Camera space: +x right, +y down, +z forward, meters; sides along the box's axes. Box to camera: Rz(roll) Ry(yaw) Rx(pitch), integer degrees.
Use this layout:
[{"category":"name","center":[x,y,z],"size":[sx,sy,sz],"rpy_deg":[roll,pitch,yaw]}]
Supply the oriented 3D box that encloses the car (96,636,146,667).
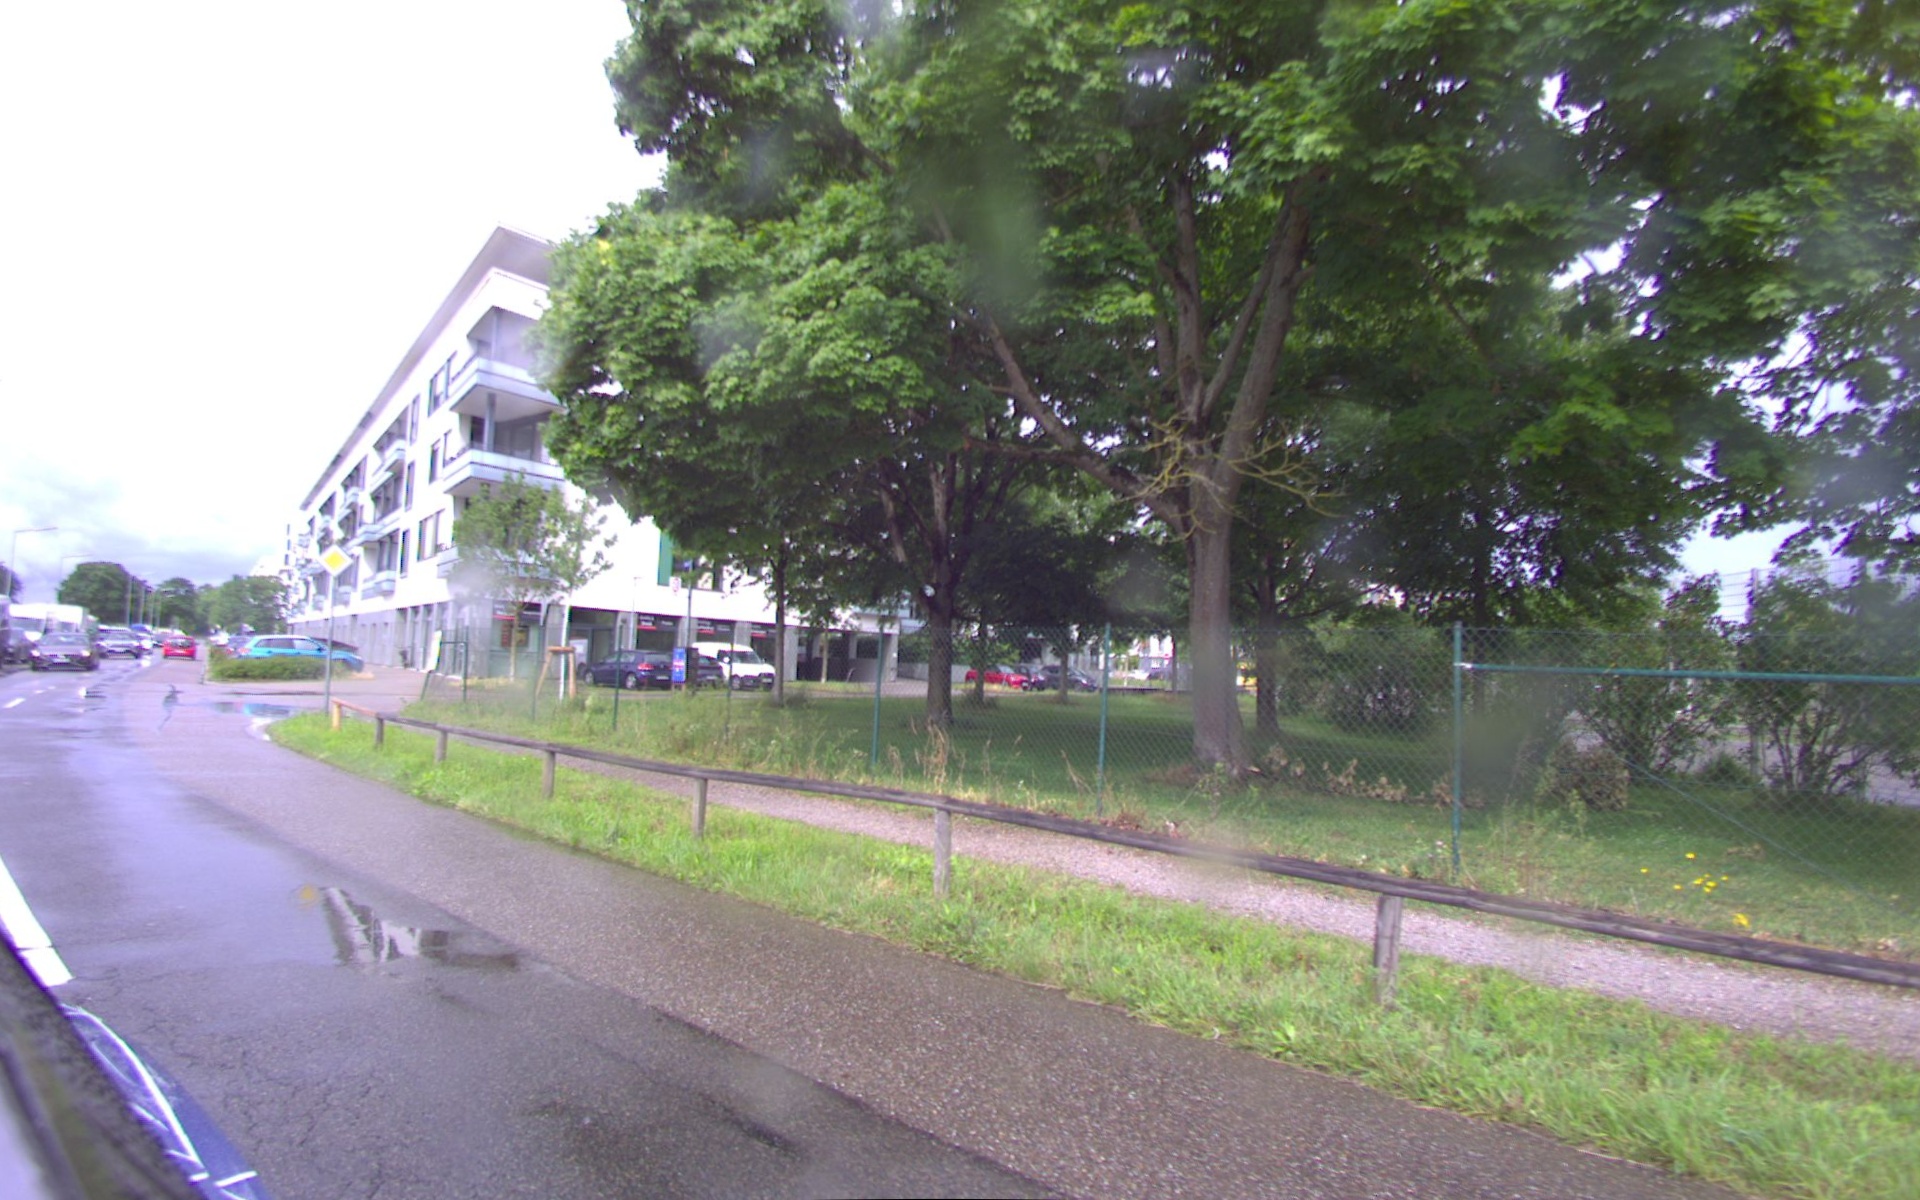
[{"category":"car","center":[-50.038,3.049,60.420],"size":[1.979,1.718,4.338],"rpy_deg":[6,-5,-37]}]

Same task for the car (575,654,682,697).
[{"category":"car","center":[-12.484,2.788,38.001],"size":[4.180,1.407,1.623],"rpy_deg":[0,-3,36]}]

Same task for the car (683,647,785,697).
[{"category":"car","center":[-9.396,2.935,41.894],"size":[4.341,1.849,1.623],"rpy_deg":[0,-3,36]}]

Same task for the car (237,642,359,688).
[{"category":"car","center":[-25.070,2.419,38.368],"size":[3.759,1.646,1.759],"rpy_deg":[2,-3,-35]}]

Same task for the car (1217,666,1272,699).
[{"category":"car","center":[24.676,7.069,87.554],"size":[1.965,2.634,6.551],"rpy_deg":[0,-3,40]}]

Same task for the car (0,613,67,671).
[{"category":"car","center":[-45.758,2.077,49.577],"size":[2.041,2.548,6.673],"rpy_deg":[7,-7,-35]}]

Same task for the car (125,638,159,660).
[{"category":"car","center":[-61.473,3.691,76.125],"size":[1.813,1.530,4.365],"rpy_deg":[6,-5,-38]}]

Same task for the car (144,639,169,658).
[{"category":"car","center":[-85.830,5.180,108.132],"size":[1.968,2.029,4.007],"rpy_deg":[2,-3,-39]}]

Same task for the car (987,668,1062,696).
[{"category":"car","center":[3.791,4.807,59.671],"size":[4.176,1.407,1.623],"rpy_deg":[0,-3,36]}]

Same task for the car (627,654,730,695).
[{"category":"car","center":[-11.143,2.908,39.975],"size":[4.120,1.407,1.668],"rpy_deg":[0,-3,36]}]

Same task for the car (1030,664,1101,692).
[{"category":"car","center":[6.586,4.855,63.219],"size":[4.176,1.547,1.623],"rpy_deg":[0,-3,36]}]

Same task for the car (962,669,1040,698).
[{"category":"car","center":[2.314,4.719,57.329],"size":[4.176,1.407,1.623],"rpy_deg":[0,-3,36]}]

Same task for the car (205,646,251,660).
[{"category":"car","center":[-75.191,5.416,103.974],"size":[3.739,1.381,1.748],"rpy_deg":[2,-3,-38]}]

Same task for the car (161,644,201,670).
[{"category":"car","center":[-48.855,3.568,63.524],"size":[1.634,1.479,3.398],"rpy_deg":[5,-5,-34]}]

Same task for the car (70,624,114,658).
[{"category":"car","center":[-62.749,2.975,73.232],"size":[1.967,2.258,4.573],"rpy_deg":[5,-5,-36]}]

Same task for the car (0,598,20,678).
[{"category":"car","center":[-35.849,1.304,36.470],"size":[2.117,2.905,5.286],"rpy_deg":[9,-7,-38]}]

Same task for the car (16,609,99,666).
[{"category":"car","center":[-52.213,2.225,58.697],"size":[2.438,2.978,6.904],"rpy_deg":[6,-6,-34]}]

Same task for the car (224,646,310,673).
[{"category":"car","center":[-36.989,3.205,54.014],"size":[3.682,1.383,1.648],"rpy_deg":[3,-4,-37]}]

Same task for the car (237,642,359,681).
[{"category":"car","center":[-27.754,2.554,42.453],"size":[4.118,1.561,1.863],"rpy_deg":[2,-3,-38]}]

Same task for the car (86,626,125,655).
[{"category":"car","center":[-70.881,3.363,83.999],"size":[1.967,2.258,4.573],"rpy_deg":[5,-5,-36]}]

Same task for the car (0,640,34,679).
[{"category":"car","center":[-40.530,2.438,42.483],"size":[1.707,1.505,4.452],"rpy_deg":[7,-6,-35]}]

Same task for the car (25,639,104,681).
[{"category":"car","center":[-34.279,2.296,38.847],"size":[1.844,1.531,4.367],"rpy_deg":[2,-4,-36]}]
